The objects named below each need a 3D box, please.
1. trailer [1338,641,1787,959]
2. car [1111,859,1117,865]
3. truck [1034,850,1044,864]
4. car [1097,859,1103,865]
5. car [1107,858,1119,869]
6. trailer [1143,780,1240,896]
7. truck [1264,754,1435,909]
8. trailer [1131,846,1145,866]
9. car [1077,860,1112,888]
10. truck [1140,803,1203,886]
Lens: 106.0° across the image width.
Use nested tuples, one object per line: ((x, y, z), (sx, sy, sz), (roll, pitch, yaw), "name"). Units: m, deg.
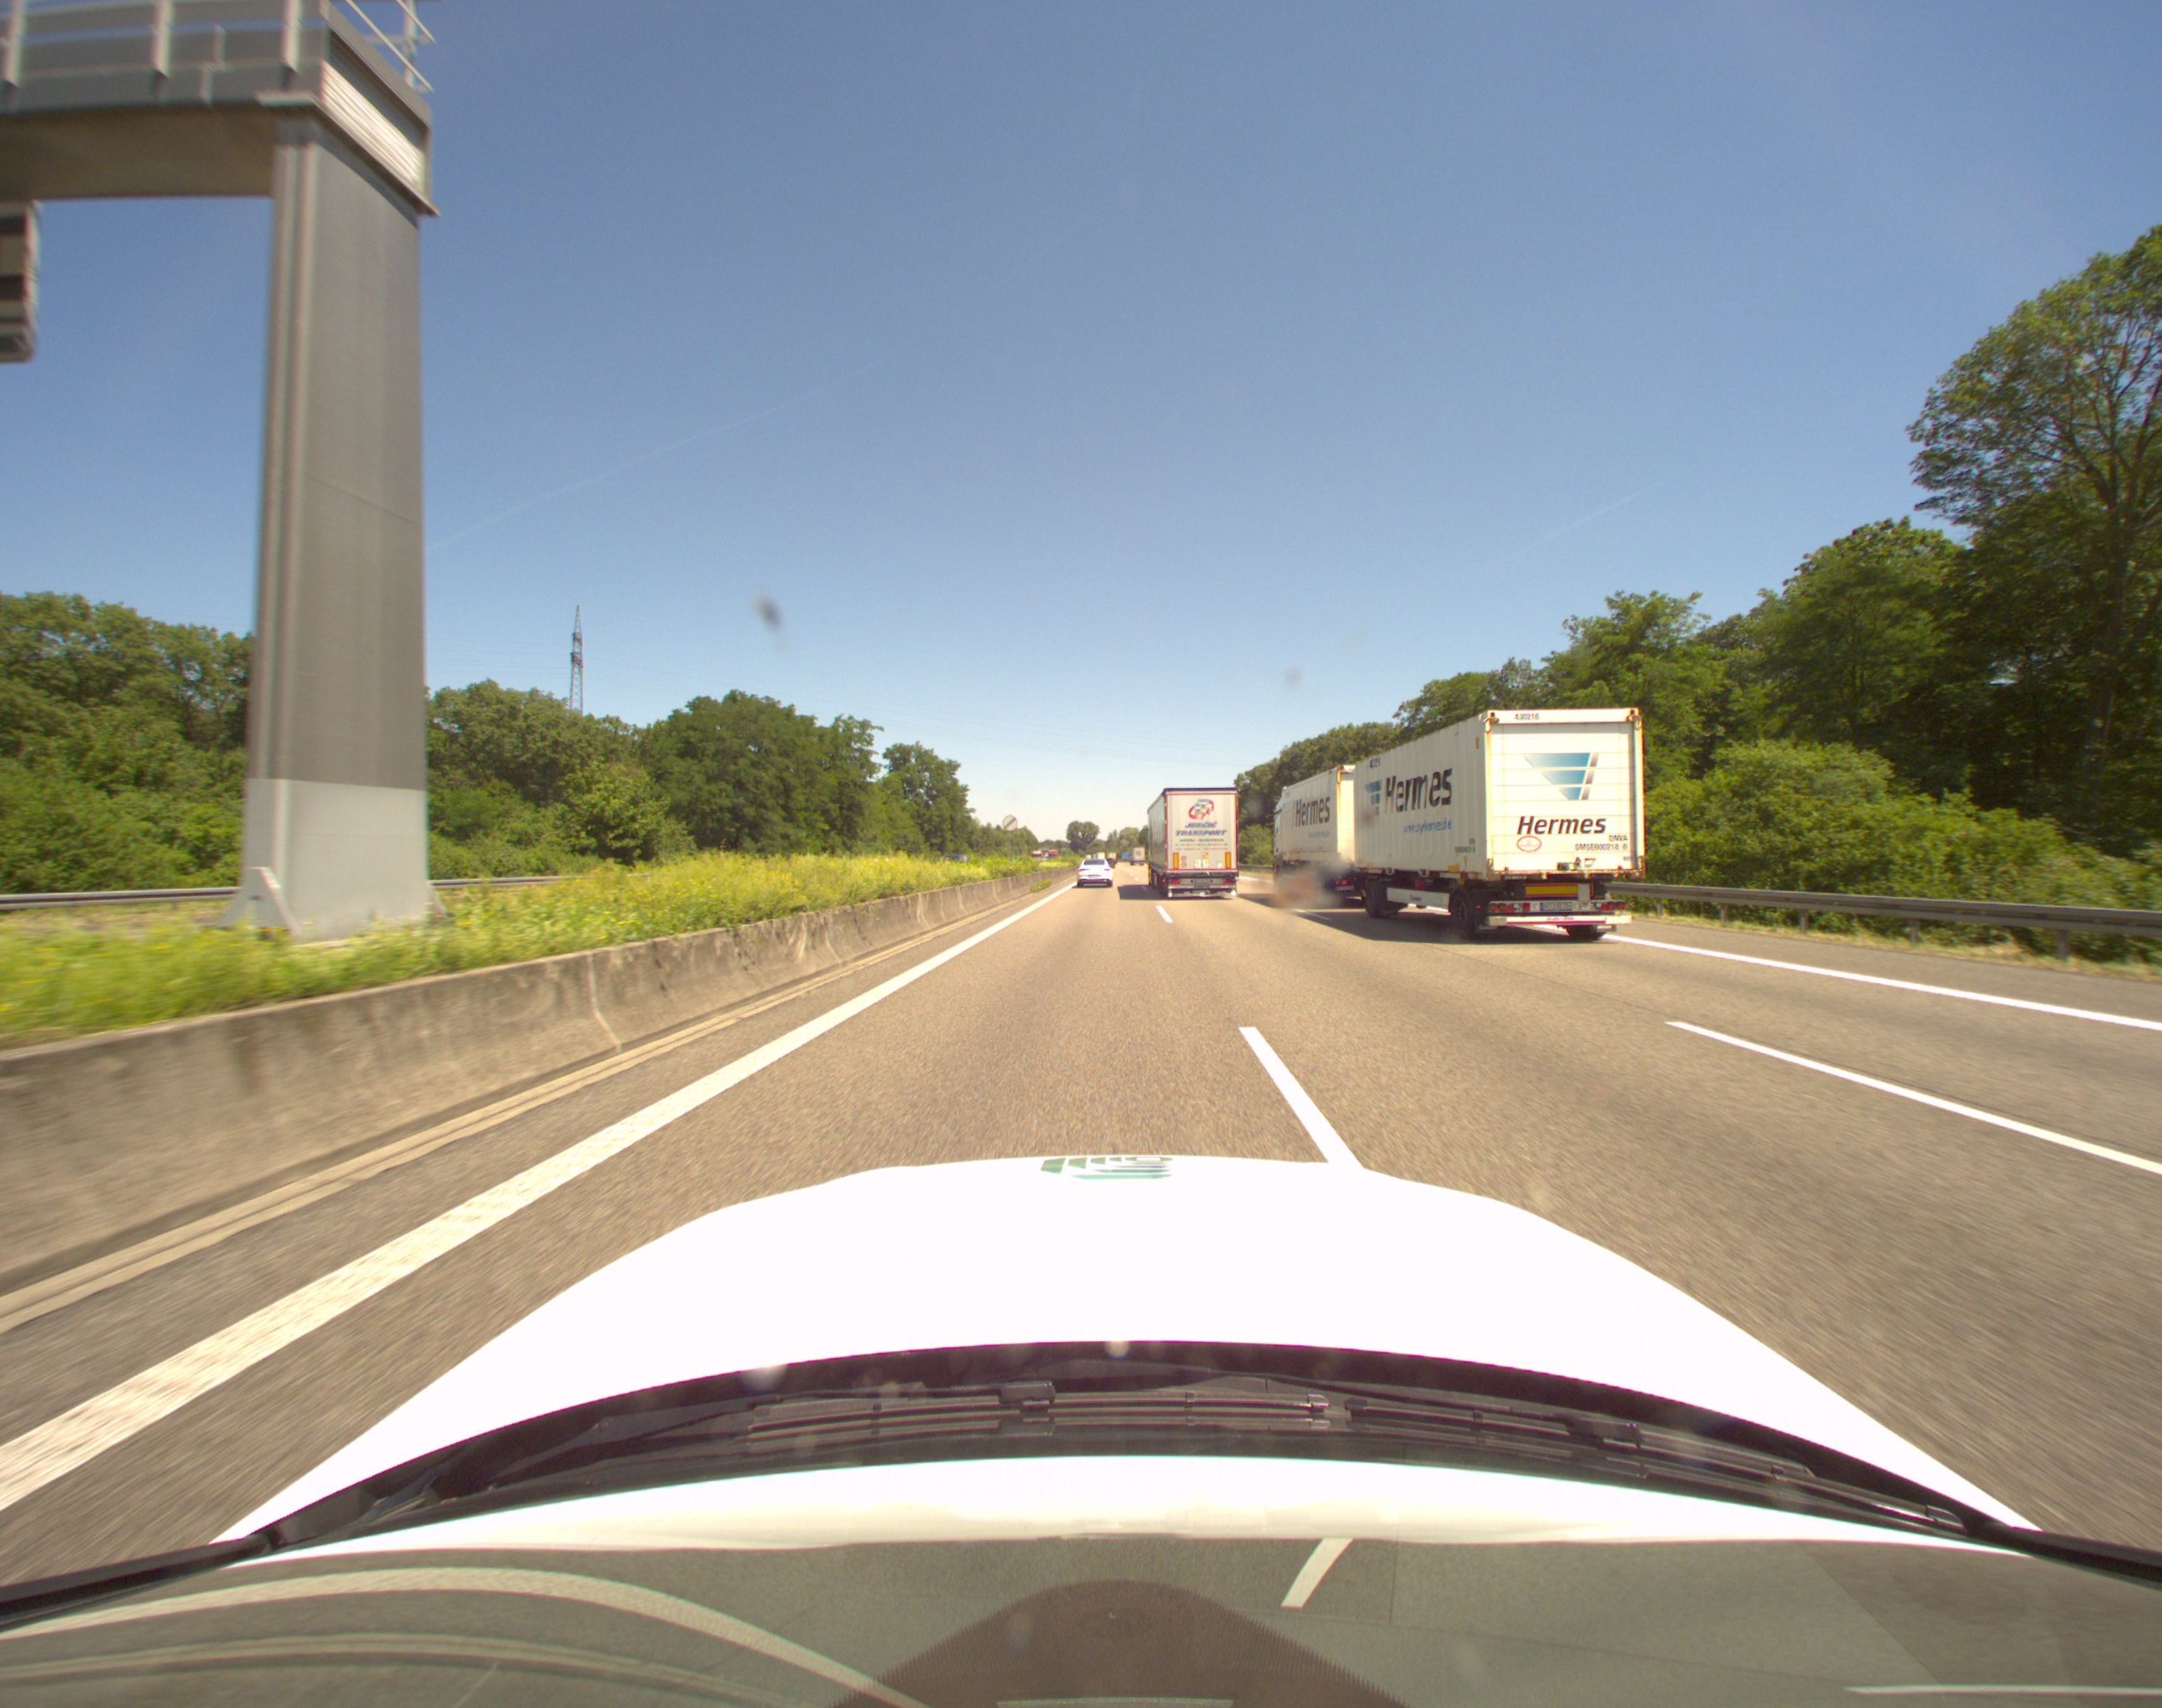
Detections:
((7.942, -0.650, 16.080), (2.545, 4.060, 11.268), (0, -1, 2), "trailer")
((9.244, 2.303, 227.718), (1.717, 1.585, 4.001), (-1, 0, 1), "car")
((-11.280, 0.830, 219.767), (2.350, 3.601, 4.162), (-1, -1, -1), "truck")
((5.337, 2.288, 227.918), (1.717, 1.783, 4.001), (-1, 0, 1), "car")
((5.243, 1.579, 132.462), (1.985, 1.772, 4.003), (-1, 0, 3), "car")
((4.339, -0.498, 35.001), (2.730, 3.975, 13.659), (0, 0, 2), "trailer")
((8.358, -0.551, 27.092), (2.517, 4.130, 10.674), (0, -1, 2), "truck")
((12.840, 0.526, 184.955), (2.614, 4.261, 14.067), (0, 0, 2), "trailer")
((0.711, 1.008, 42.360), (1.709, 1.369, 3.375), (0, -1, 1), "car")
((4.549, -0.440, 42.259), (2.712, 3.975, 6.503), (0, -1, 2), "truck")
